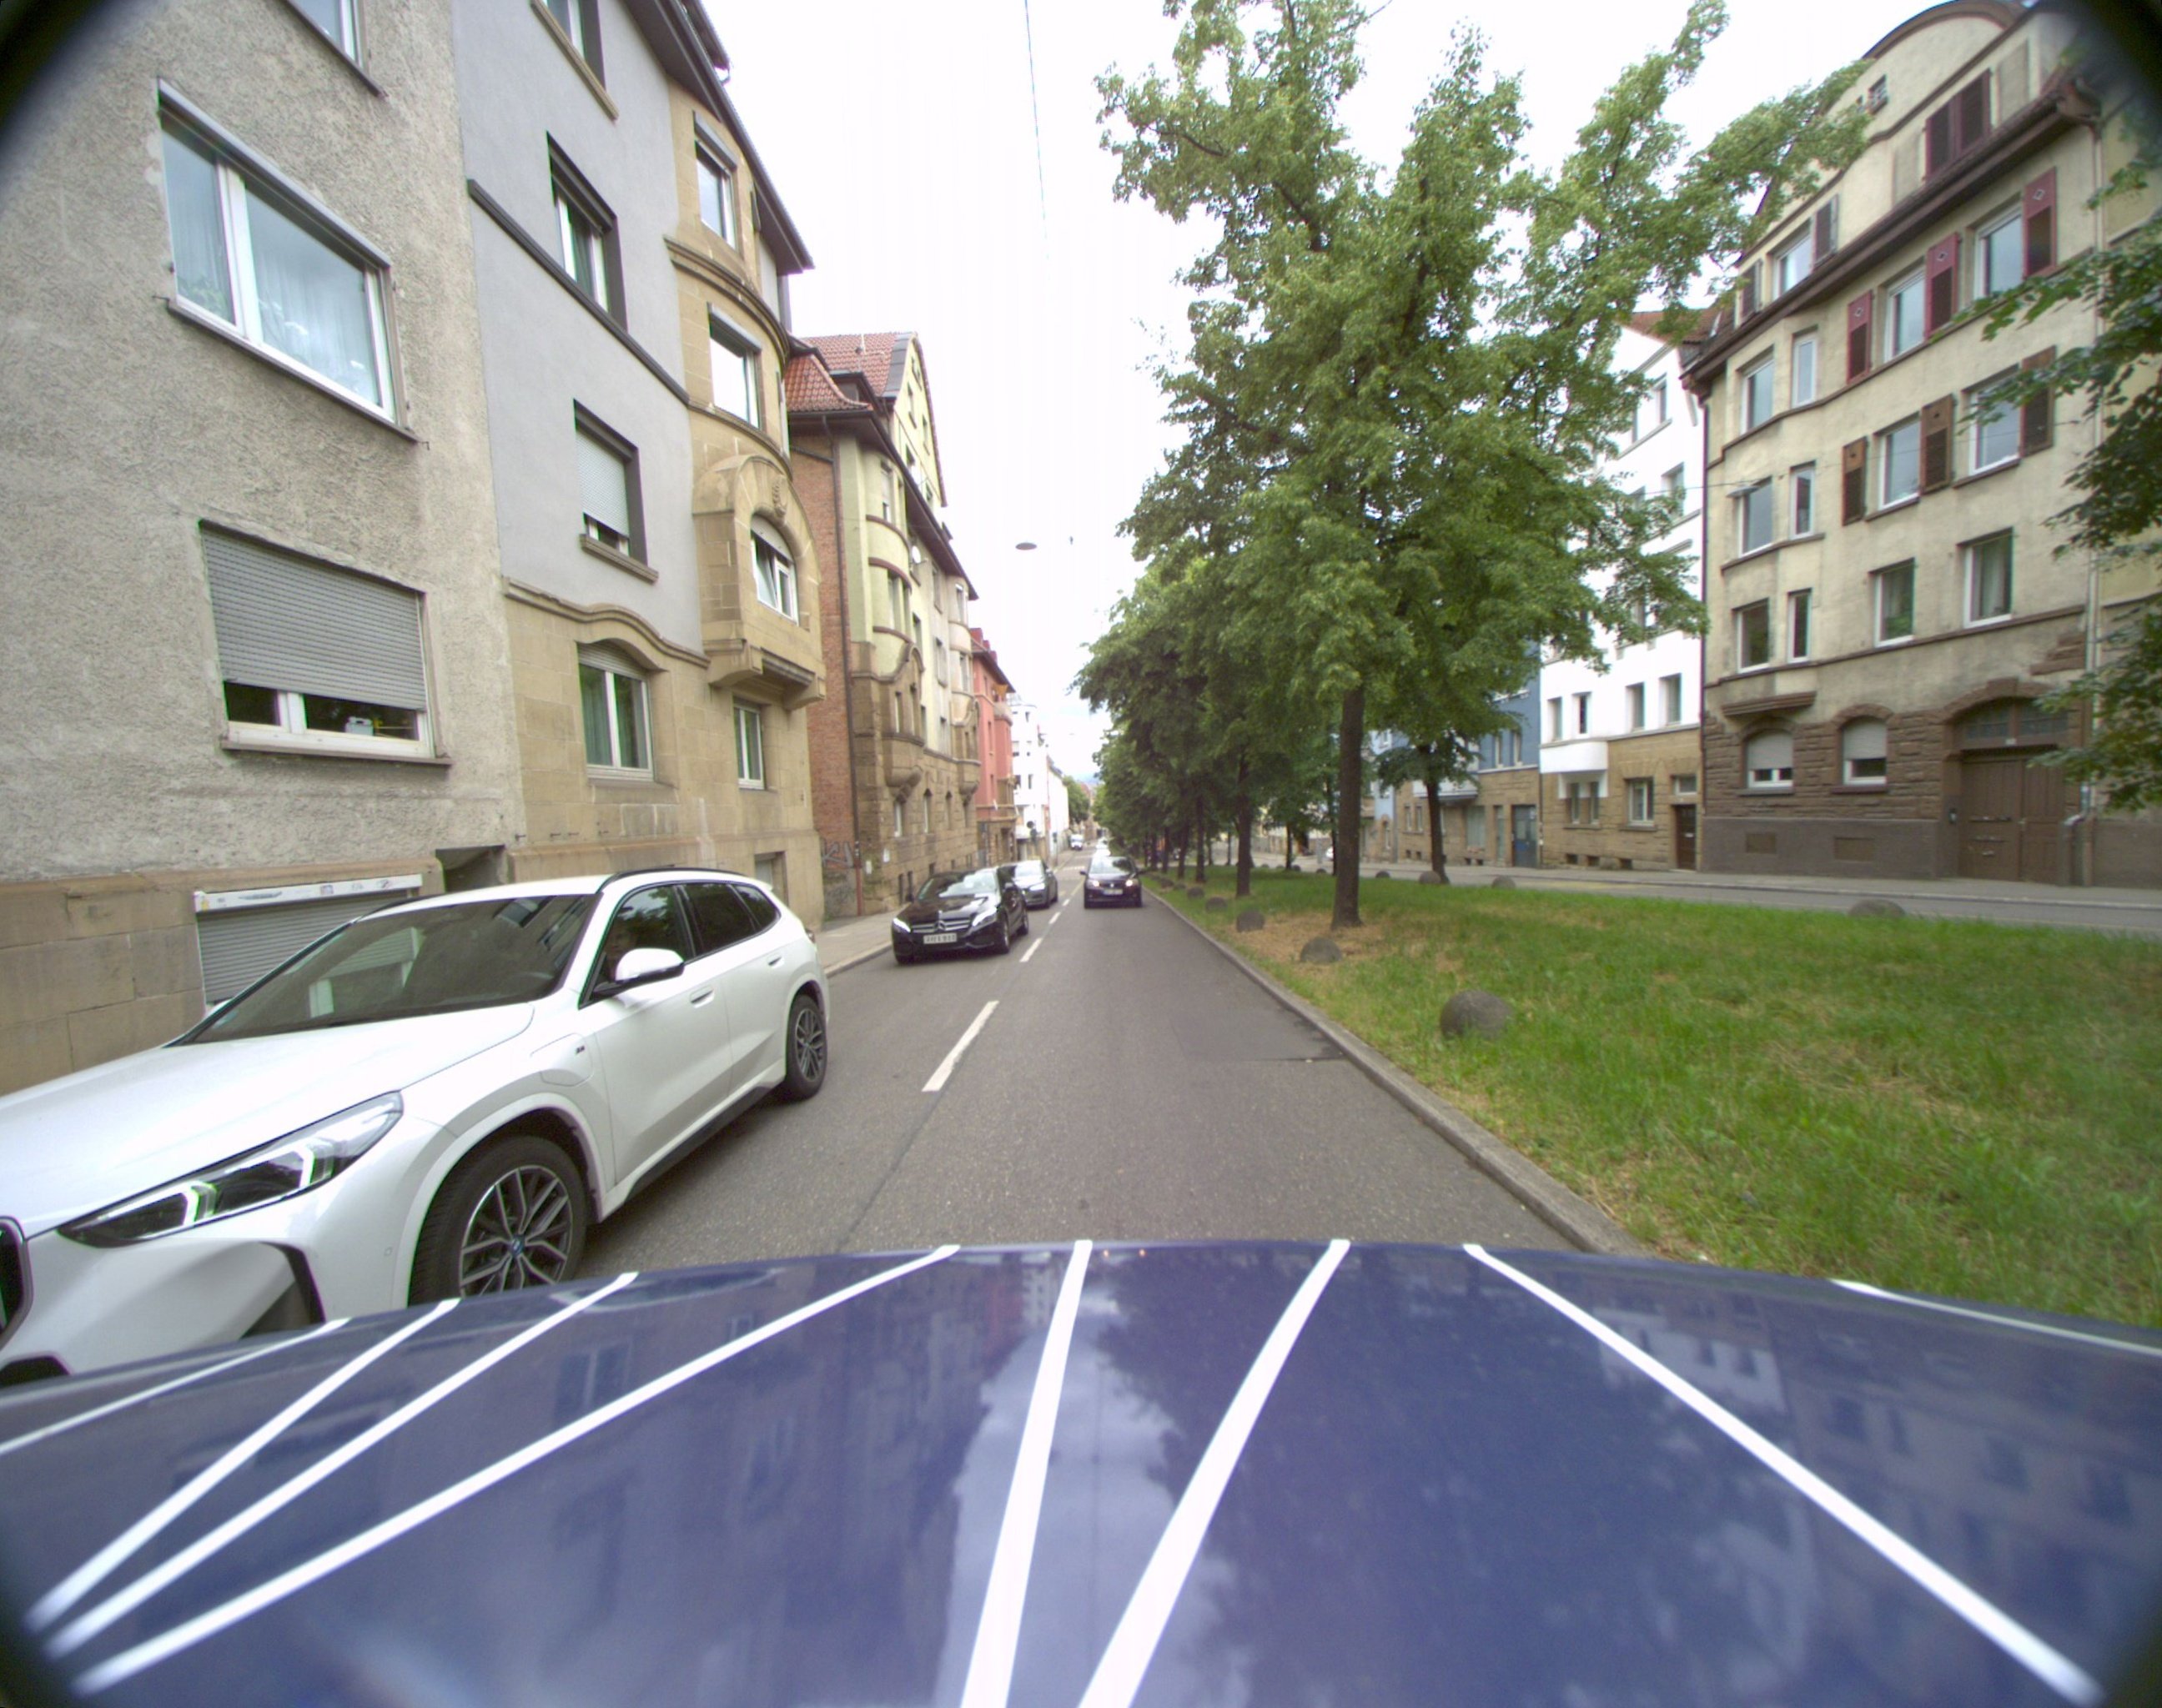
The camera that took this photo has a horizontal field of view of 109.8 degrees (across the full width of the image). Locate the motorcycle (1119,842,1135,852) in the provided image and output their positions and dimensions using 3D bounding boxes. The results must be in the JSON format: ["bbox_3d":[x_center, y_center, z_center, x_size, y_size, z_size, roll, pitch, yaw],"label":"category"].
[{"bbox_3d":[6.015,-0.880,98.604,2.040,1.126,0.454,-3,4,2],"label":"motorcycle"}]

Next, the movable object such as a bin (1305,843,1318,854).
[{"bbox_3d":[21.391,-0.534,70.527,0.887,0.988,0.668,-5,2,0],"label":"movable object such as a bin"}]

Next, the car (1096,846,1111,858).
[{"bbox_3d":[2.774,-0.231,92.250,1.783,1.420,4.281,-1,0,2],"label":"car"}]

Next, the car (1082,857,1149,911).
[{"bbox_3d":[1.011,0.820,22.669,1.783,1.420,4.281,-1,0,2],"label":"car"}]

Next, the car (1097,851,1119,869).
[{"bbox_3d":[2.270,0.453,64.105,1.783,1.420,4.281,-1,0,2],"label":"car"}]

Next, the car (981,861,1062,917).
[{"bbox_3d":[-1.722,0.996,23.338,1.854,1.360,4.281,-6,0,2],"label":"car"}]

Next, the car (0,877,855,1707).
[{"bbox_3d":[-2.794,1.078,3.653,1.854,1.595,4.563,-7,0,0],"label":"car"}]

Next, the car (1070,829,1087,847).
[{"bbox_3d":[-0.439,-2.930,138.805,3.025,3.045,7.166,-2,3,1],"label":"car"}]

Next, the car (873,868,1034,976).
[{"bbox_3d":[-2.051,1.059,13.535,1.854,1.360,4.281,-6,0,2],"label":"car"}]

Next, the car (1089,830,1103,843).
[{"bbox_3d":[3.530,-4.179,180.665,3.025,3.045,7.166,-2,3,1],"label":"car"}]

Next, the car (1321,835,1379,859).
[{"bbox_3d":[22.376,-0.572,63.313,4.007,1.462,1.870,-7,3,-1],"label":"car"}]
